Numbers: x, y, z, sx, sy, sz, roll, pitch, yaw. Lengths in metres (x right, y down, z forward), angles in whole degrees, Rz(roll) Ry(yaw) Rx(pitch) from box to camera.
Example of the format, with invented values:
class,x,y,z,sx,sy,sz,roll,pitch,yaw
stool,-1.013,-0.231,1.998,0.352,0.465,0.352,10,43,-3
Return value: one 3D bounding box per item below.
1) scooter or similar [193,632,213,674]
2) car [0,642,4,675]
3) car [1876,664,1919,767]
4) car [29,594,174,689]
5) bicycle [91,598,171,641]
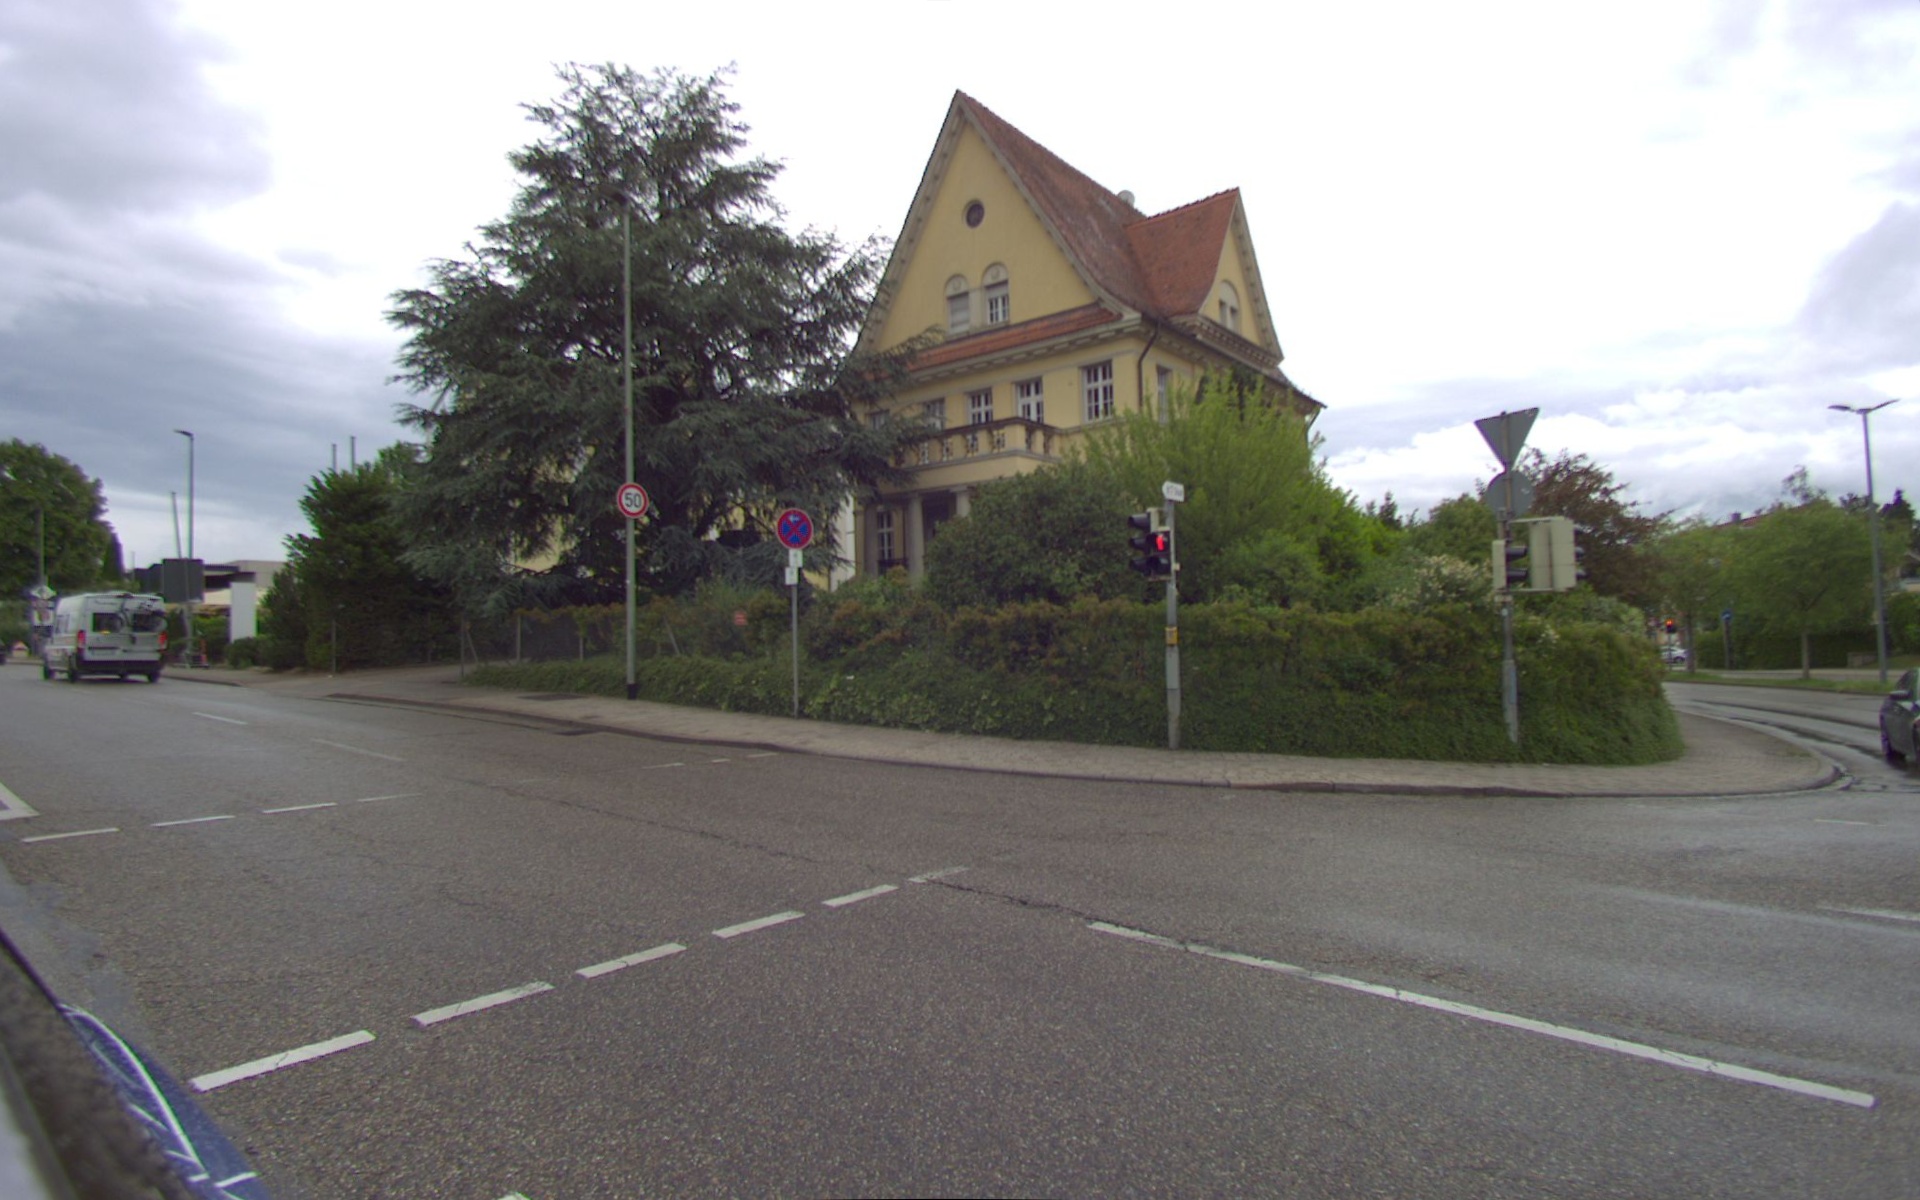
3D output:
class,x,y,z,sx,sy,sz,roll,pitch,yaw
scooter or similar,-26.453,1.828,35.352,0.498,1.416,1.884,1,-2,-39
car,-46.964,2.751,48.099,4.468,1.513,1.758,-1,-2,40
car,14.126,1.562,13.784,1.772,1.404,4.382,-4,-5,34
car,-25.441,1.235,29.900,5.769,2.547,2.274,-2,-4,40
bicycle,-22.934,0.550,28.025,0.467,1.134,1.619,-3,-4,40
